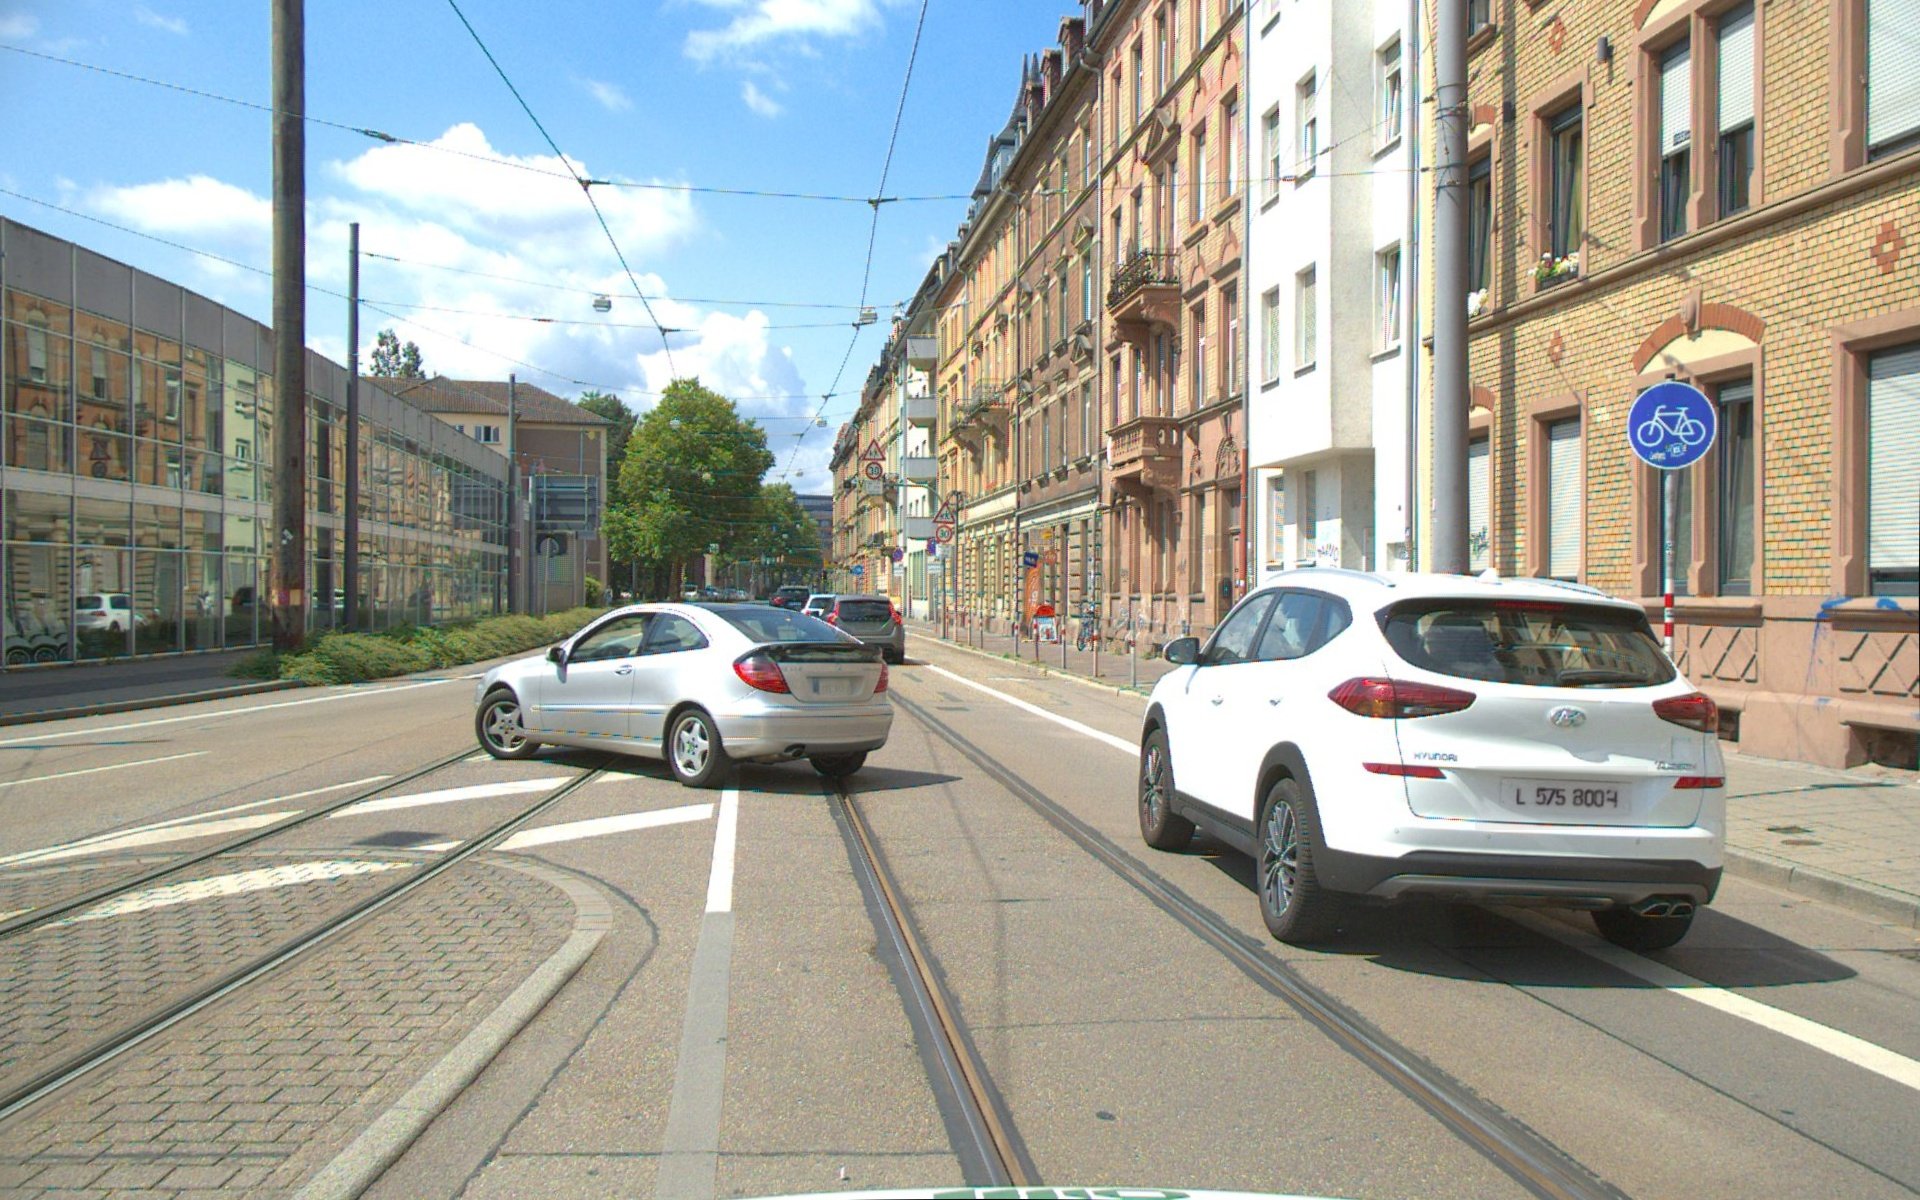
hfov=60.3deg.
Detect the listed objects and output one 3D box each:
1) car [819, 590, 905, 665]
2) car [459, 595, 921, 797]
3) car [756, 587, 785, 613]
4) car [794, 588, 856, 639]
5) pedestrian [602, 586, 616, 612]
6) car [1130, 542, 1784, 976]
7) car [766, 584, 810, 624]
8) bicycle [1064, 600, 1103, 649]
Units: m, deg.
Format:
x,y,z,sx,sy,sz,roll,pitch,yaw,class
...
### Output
x,y,z,sx,sy,sz,roll,pitch,yaw,class
-2.208,0.560,36.506,1.779,1.550,4.081,0,1,-5,car
-2.399,0.685,14.000,4.117,1.445,1.808,0,0,45,car
-13.998,-0.019,122.037,1.956,1.892,3.992,0,0,-9,car
-4.287,0.396,52.131,1.780,1.551,3.949,0,0,-7,car
-26.222,-0.058,123.587,0.863,1.898,1.079,-1,0,-7,pedestrian
2.170,0.649,8.520,1.816,1.662,4.176,1,-1,-5,car
-7.466,0.162,71.615,1.780,1.691,4.078,0,0,-7,car
3.110,0.597,41.737,0.575,1.199,2.202,0,0,-6,bicycle
